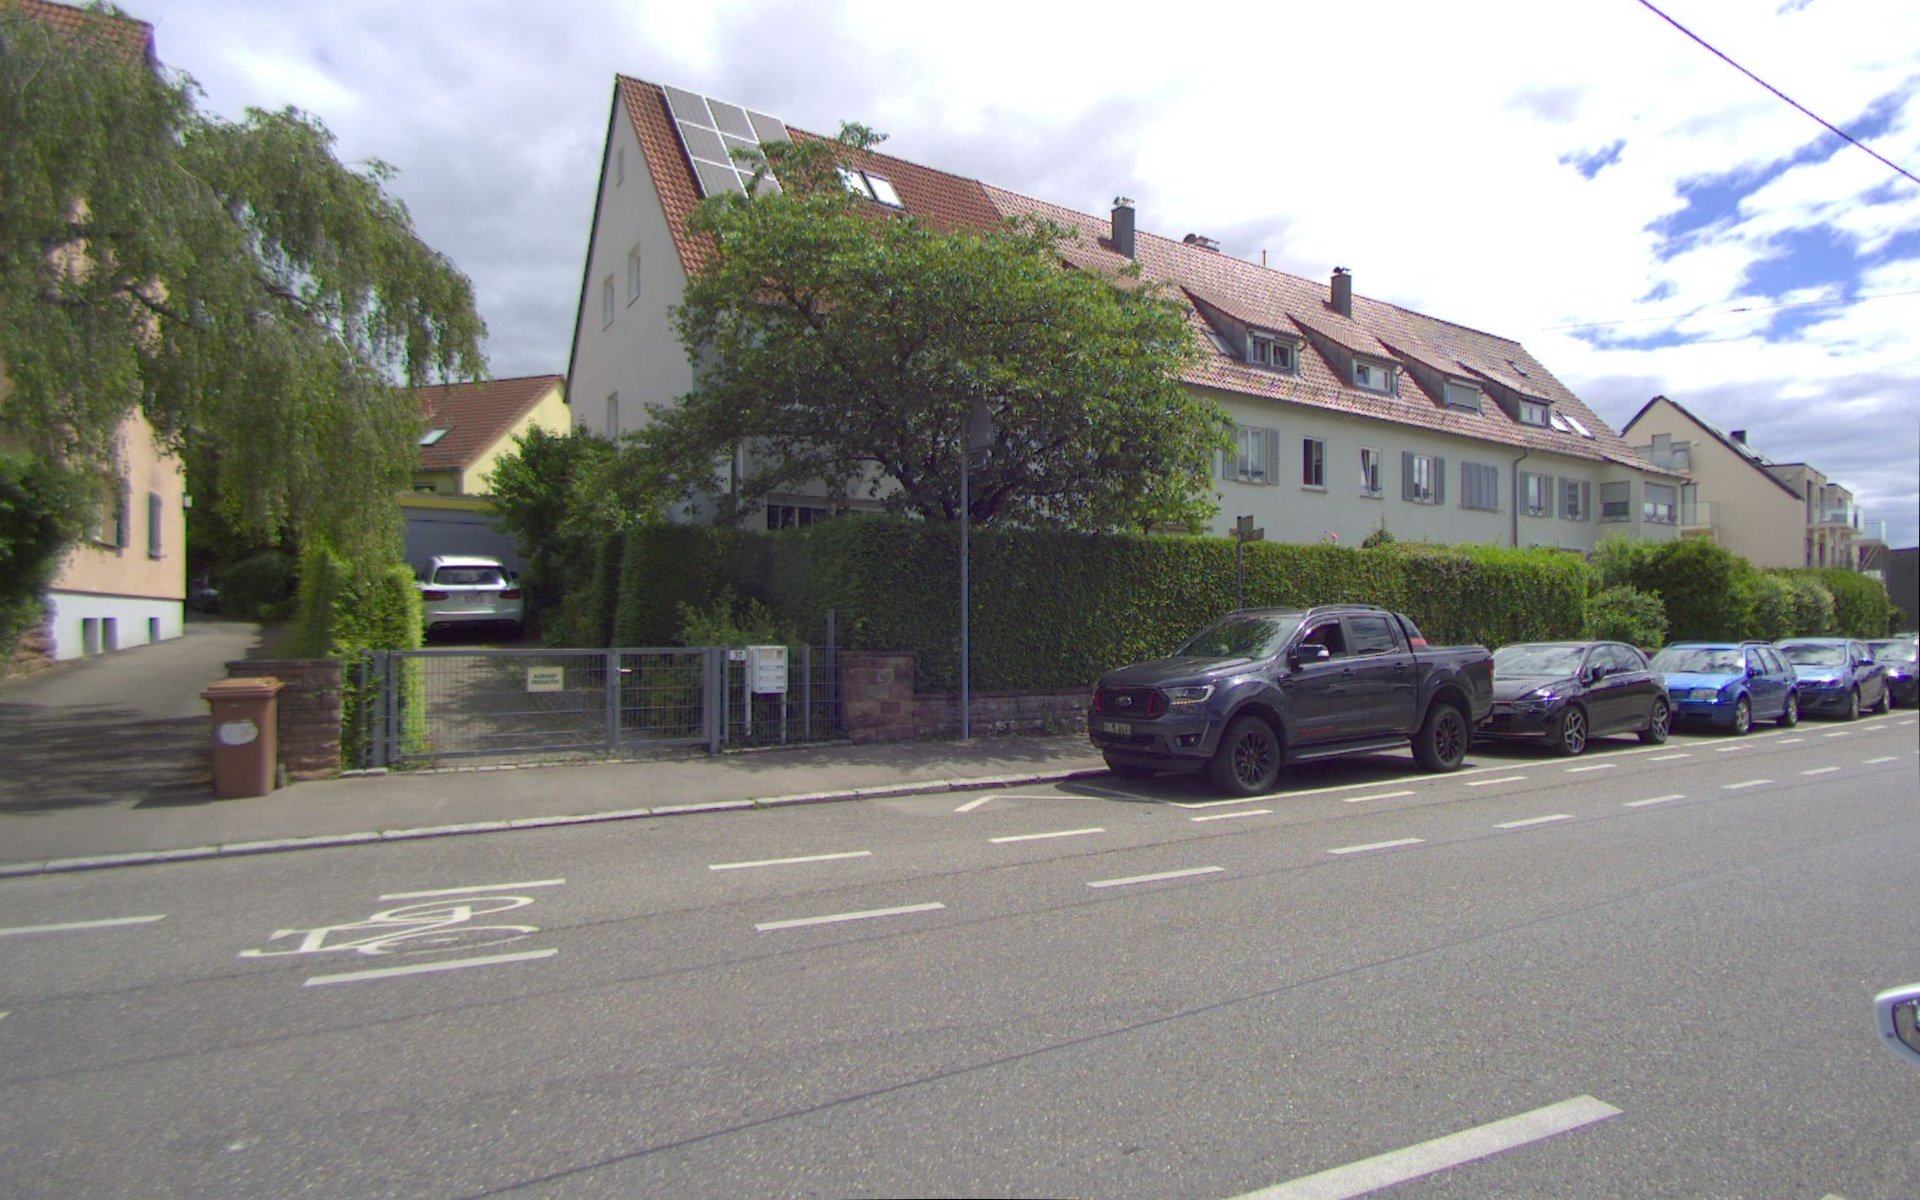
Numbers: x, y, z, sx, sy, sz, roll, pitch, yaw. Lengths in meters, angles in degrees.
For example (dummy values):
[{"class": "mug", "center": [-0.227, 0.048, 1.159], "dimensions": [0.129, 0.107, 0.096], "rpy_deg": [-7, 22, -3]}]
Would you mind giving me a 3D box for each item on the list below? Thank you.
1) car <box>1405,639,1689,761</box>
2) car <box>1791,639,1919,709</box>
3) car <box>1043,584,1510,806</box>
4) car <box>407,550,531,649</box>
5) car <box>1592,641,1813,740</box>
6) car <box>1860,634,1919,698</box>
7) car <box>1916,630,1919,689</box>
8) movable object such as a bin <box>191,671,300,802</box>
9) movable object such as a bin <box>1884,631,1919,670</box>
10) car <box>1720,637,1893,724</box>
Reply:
[{"class": "car", "center": [8.246, 1.274, 14.000], "dimensions": [4.294, 1.436, 1.767], "rpy_deg": [2, -2, -34]}, {"class": "car", "center": [21.148, 1.624, 23.065], "dimensions": [4.641, 1.427, 1.981], "rpy_deg": [2, -2, -34]}, {"class": "car", "center": [3.623, 0.930, 11.060], "dimensions": [5.346, 1.919, 1.982], "rpy_deg": [1, -3, -34]}, {"class": "car", "center": [-9.342, -0.075, 18.952], "dimensions": [1.708, 1.573, 3.964], "rpy_deg": [1, 3, -32]}, {"class": "car", "center": [12.587, 1.428, 16.947], "dimensions": [4.397, 1.436, 1.766], "rpy_deg": [2, -2, -36]}, {"class": "car", "center": [25.666, 1.699, 26.390], "dimensions": [4.641, 1.584, 1.981], "rpy_deg": [2, -2, -34]}, {"class": "car", "center": [29.857, 1.745, 29.384], "dimensions": [4.474, 1.672, 1.980], "rpy_deg": [2, -2, -36]}, {"class": "movable object such as a bin", "center": [-5.820, 1.090, 8.217], "dimensions": [0.637, 0.957, 0.673], "rpy_deg": [1, 0, -30]}, {"class": "movable object such as a bin", "center": [37.614, 1.980, 39.967], "dimensions": [1.203, 1.501, 1.057], "rpy_deg": [1, -1, -38]}, {"class": "car", "center": [16.702, 1.495, 19.747], "dimensions": [4.526, 1.511, 1.764], "rpy_deg": [2, -2, -39]}]
